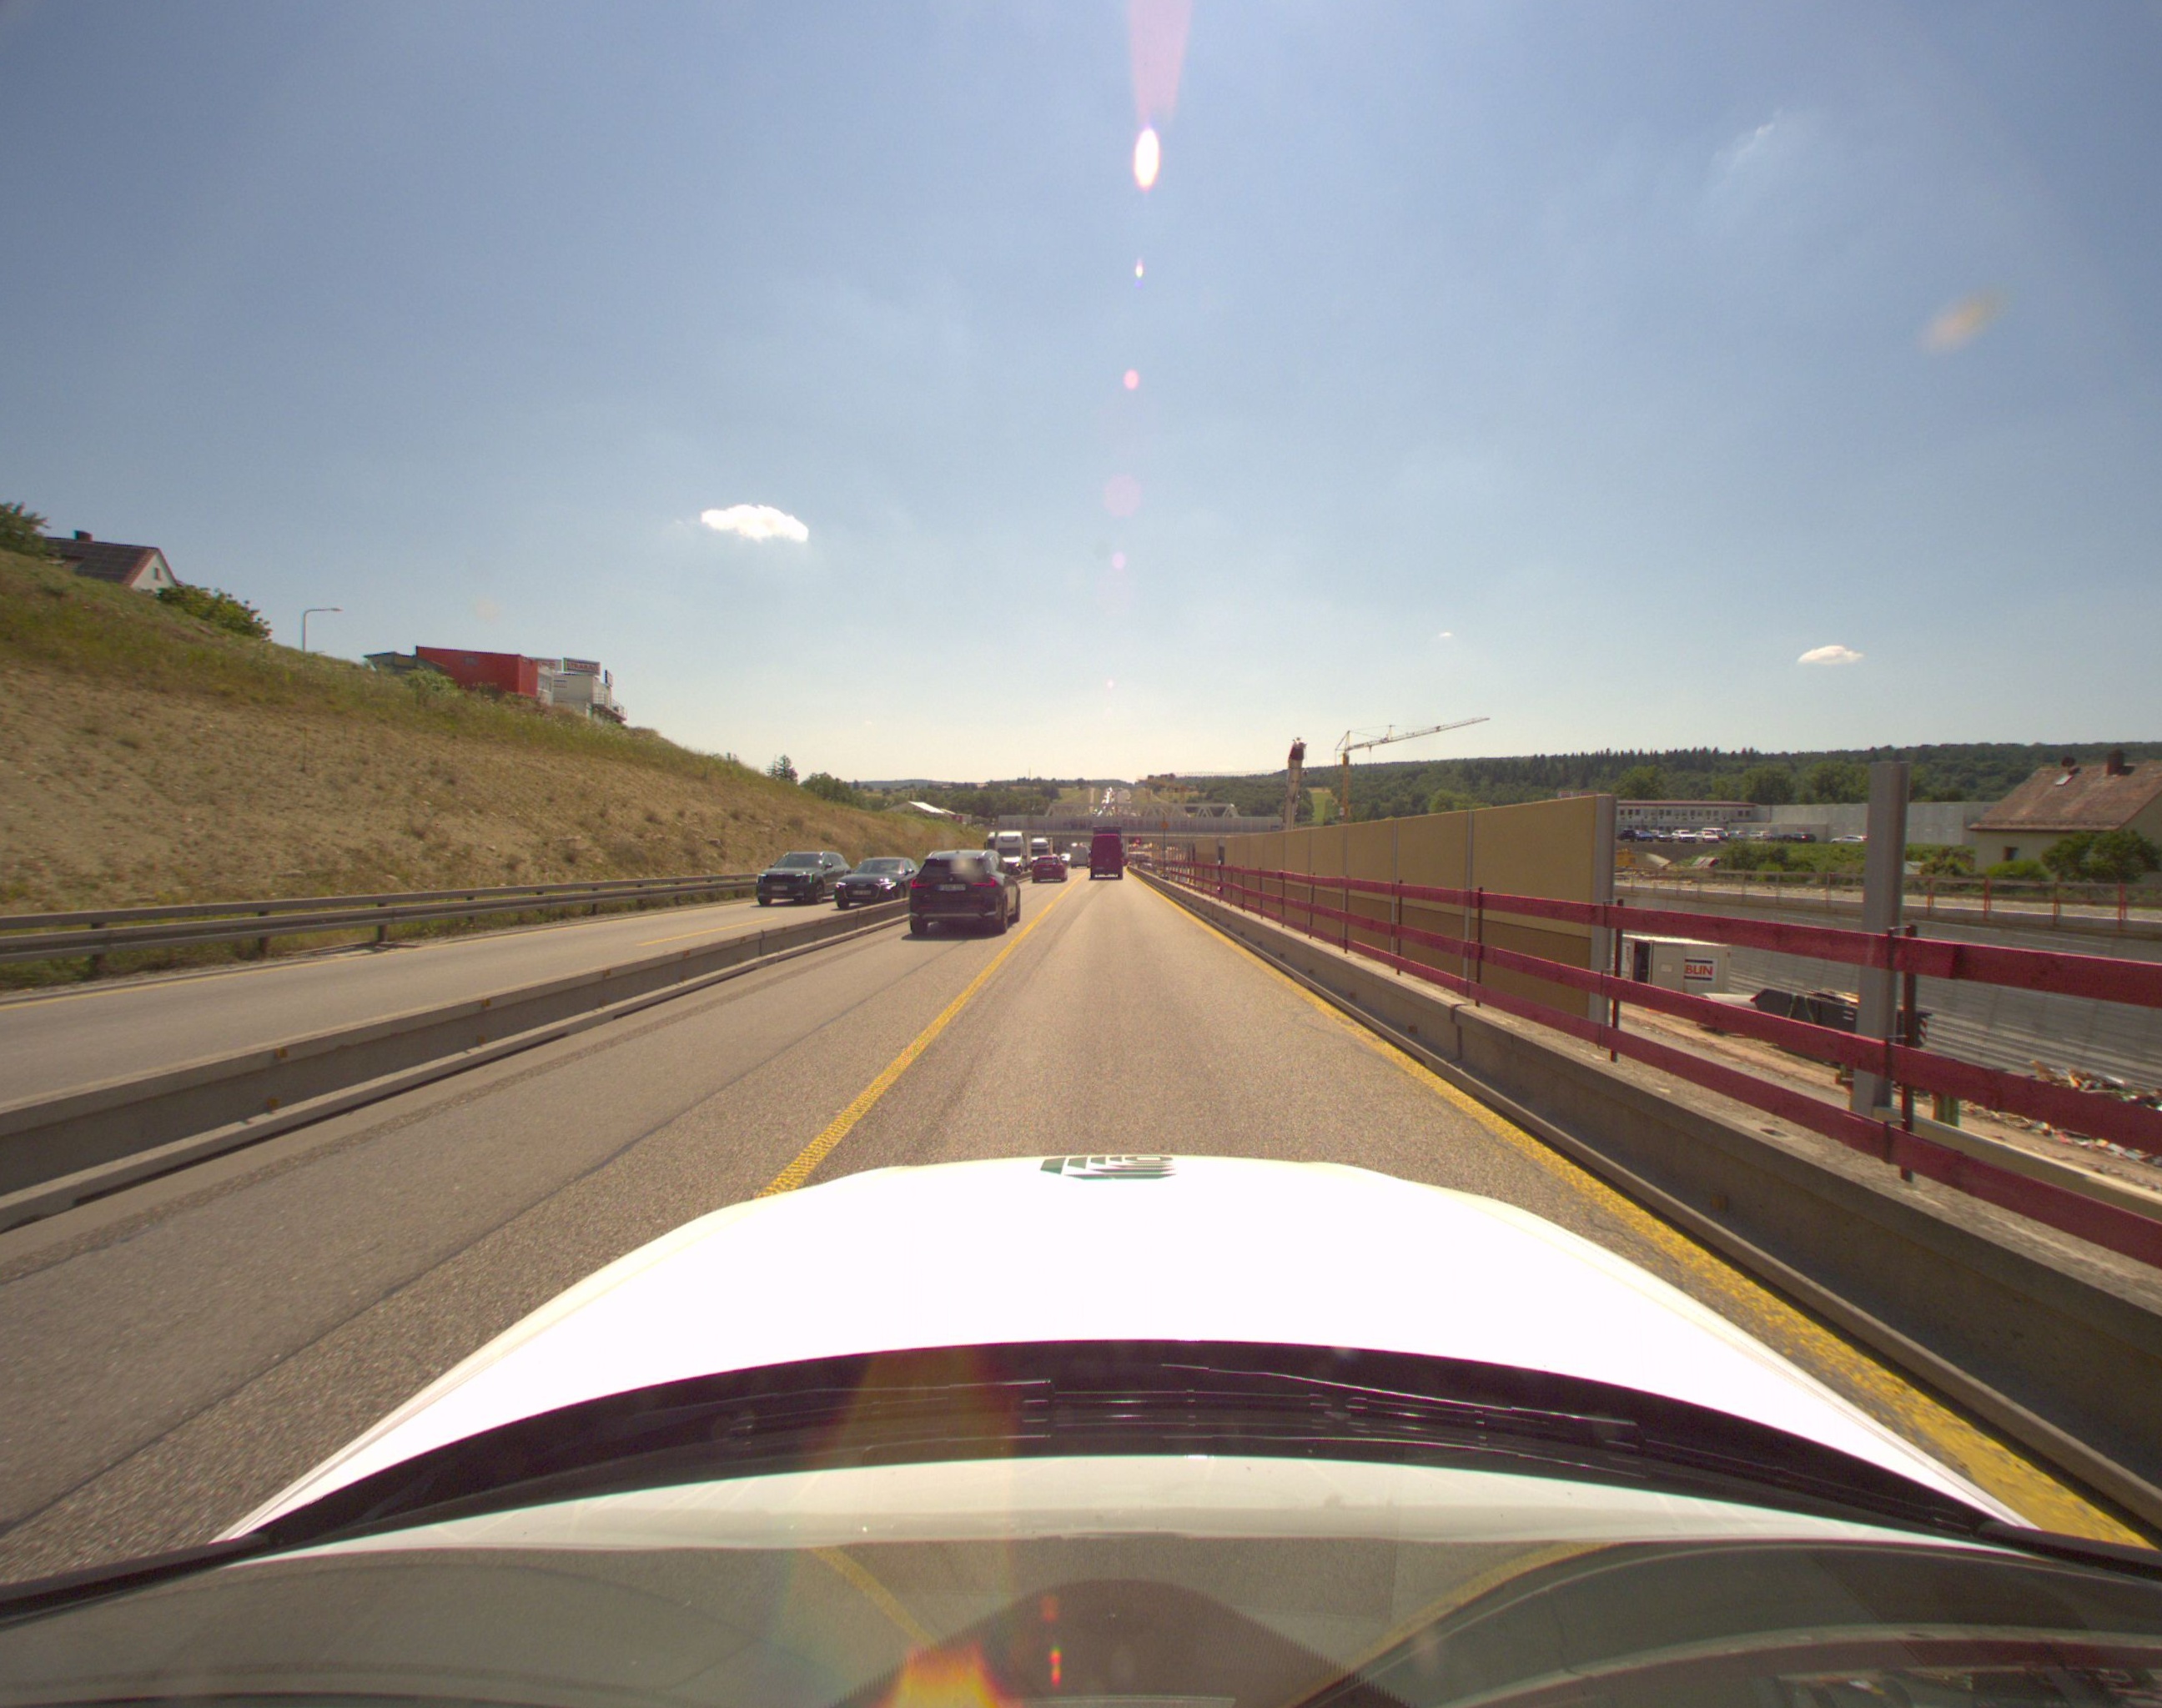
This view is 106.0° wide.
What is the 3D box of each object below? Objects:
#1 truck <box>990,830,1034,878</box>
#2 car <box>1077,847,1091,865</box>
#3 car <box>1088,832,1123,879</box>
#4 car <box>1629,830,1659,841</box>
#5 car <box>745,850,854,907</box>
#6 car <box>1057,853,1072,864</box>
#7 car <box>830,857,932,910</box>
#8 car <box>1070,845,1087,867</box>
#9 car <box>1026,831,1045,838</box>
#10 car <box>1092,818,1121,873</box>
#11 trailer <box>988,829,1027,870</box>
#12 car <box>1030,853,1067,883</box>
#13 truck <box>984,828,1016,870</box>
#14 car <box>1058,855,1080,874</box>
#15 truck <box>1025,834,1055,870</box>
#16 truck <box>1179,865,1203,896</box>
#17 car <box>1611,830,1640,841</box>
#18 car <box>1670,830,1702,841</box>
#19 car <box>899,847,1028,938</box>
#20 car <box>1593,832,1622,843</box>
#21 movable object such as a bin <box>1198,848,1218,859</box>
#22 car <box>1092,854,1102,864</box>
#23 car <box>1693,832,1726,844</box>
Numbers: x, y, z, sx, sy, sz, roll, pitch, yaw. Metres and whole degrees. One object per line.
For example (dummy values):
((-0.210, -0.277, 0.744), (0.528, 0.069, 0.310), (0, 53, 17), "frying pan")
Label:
((-5.061, -0.004, 60.932), (2.529, 3.374, 7.040), (0, 0, 1), "truck")
((0.486, 0.227, 111.162), (1.769, 2.330, 4.207), (-1, 0, 2), "car")
((1.492, 0.090, 49.694), (1.981, 2.690, 4.625), (-1, 0, 2), "car")
((80.297, -2.623, 116.238), (1.673, 1.517, 4.079), (0, 0, 4), "car")
((-9.125, 0.727, 26.832), (1.847, 1.672, 4.670), (-1, 0, 1), "car")
((-2.569, 0.704, 128.275), (2.027, 1.823, 4.961), (0, 0, 1), "car")
((-5.990, 0.820, 25.033), (1.790, 1.427, 4.951), (-1, 0, 1), "car")
((-0.246, 0.212, 92.505), (1.769, 2.441, 4.207), (-1, 0, 2), "car")
((-11.769, -5.064, 211.141), (4.520, 1.783, 1.968), (0, 0, 15), "car")
((2.481, -0.801, 79.940), (2.611, 5.032, 10.400), (-1, 0, 2), "car")
((-7.750, -0.438, 87.564), (2.688, 4.024, 13.706), (0, 0, 1), "trailer")
((-1.729, 0.738, 44.998), (1.769, 1.517, 4.207), (-1, 0, 1), "car")
((-7.915, -0.464, 79.968), (2.688, 4.050, 3.956), (0, 0, 1), "truck")
((-1.110, 0.938, 77.054), (1.833, 1.654, 4.166), (-1, 0, 1), "car")
((-4.329, -0.215, 87.092), (2.580, 3.758, 7.360), (0, 0, 1), "truck")
((14.482, 3.464, 107.843), (2.747, 3.886, 5.887), (0, 0, 3), "truck")
((77.755, -2.592, 116.396), (1.673, 1.517, 4.079), (0, 0, 4), "car")
((85.385, -2.583, 115.014), (1.706, 1.517, 4.079), (0, 0, 4), "car")
((-2.274, 0.695, 16.991), (1.873, 1.618, 4.500), (-1, 0, 2), "car")
((75.373, -2.320, 116.595), (1.673, 1.517, 4.079), (0, 0, 4), "car")
((33.623, -0.200, 216.252), (5.118, 2.807, 2.147), (0, 0, 7), "movable object such as a bin")
((2.939, 0.833, 146.096), (1.769, 1.670, 4.030), (-1, 0, 2), "car")
((88.087, -2.228, 114.205), (1.673, 1.517, 4.079), (0, 0, 4), "car")
